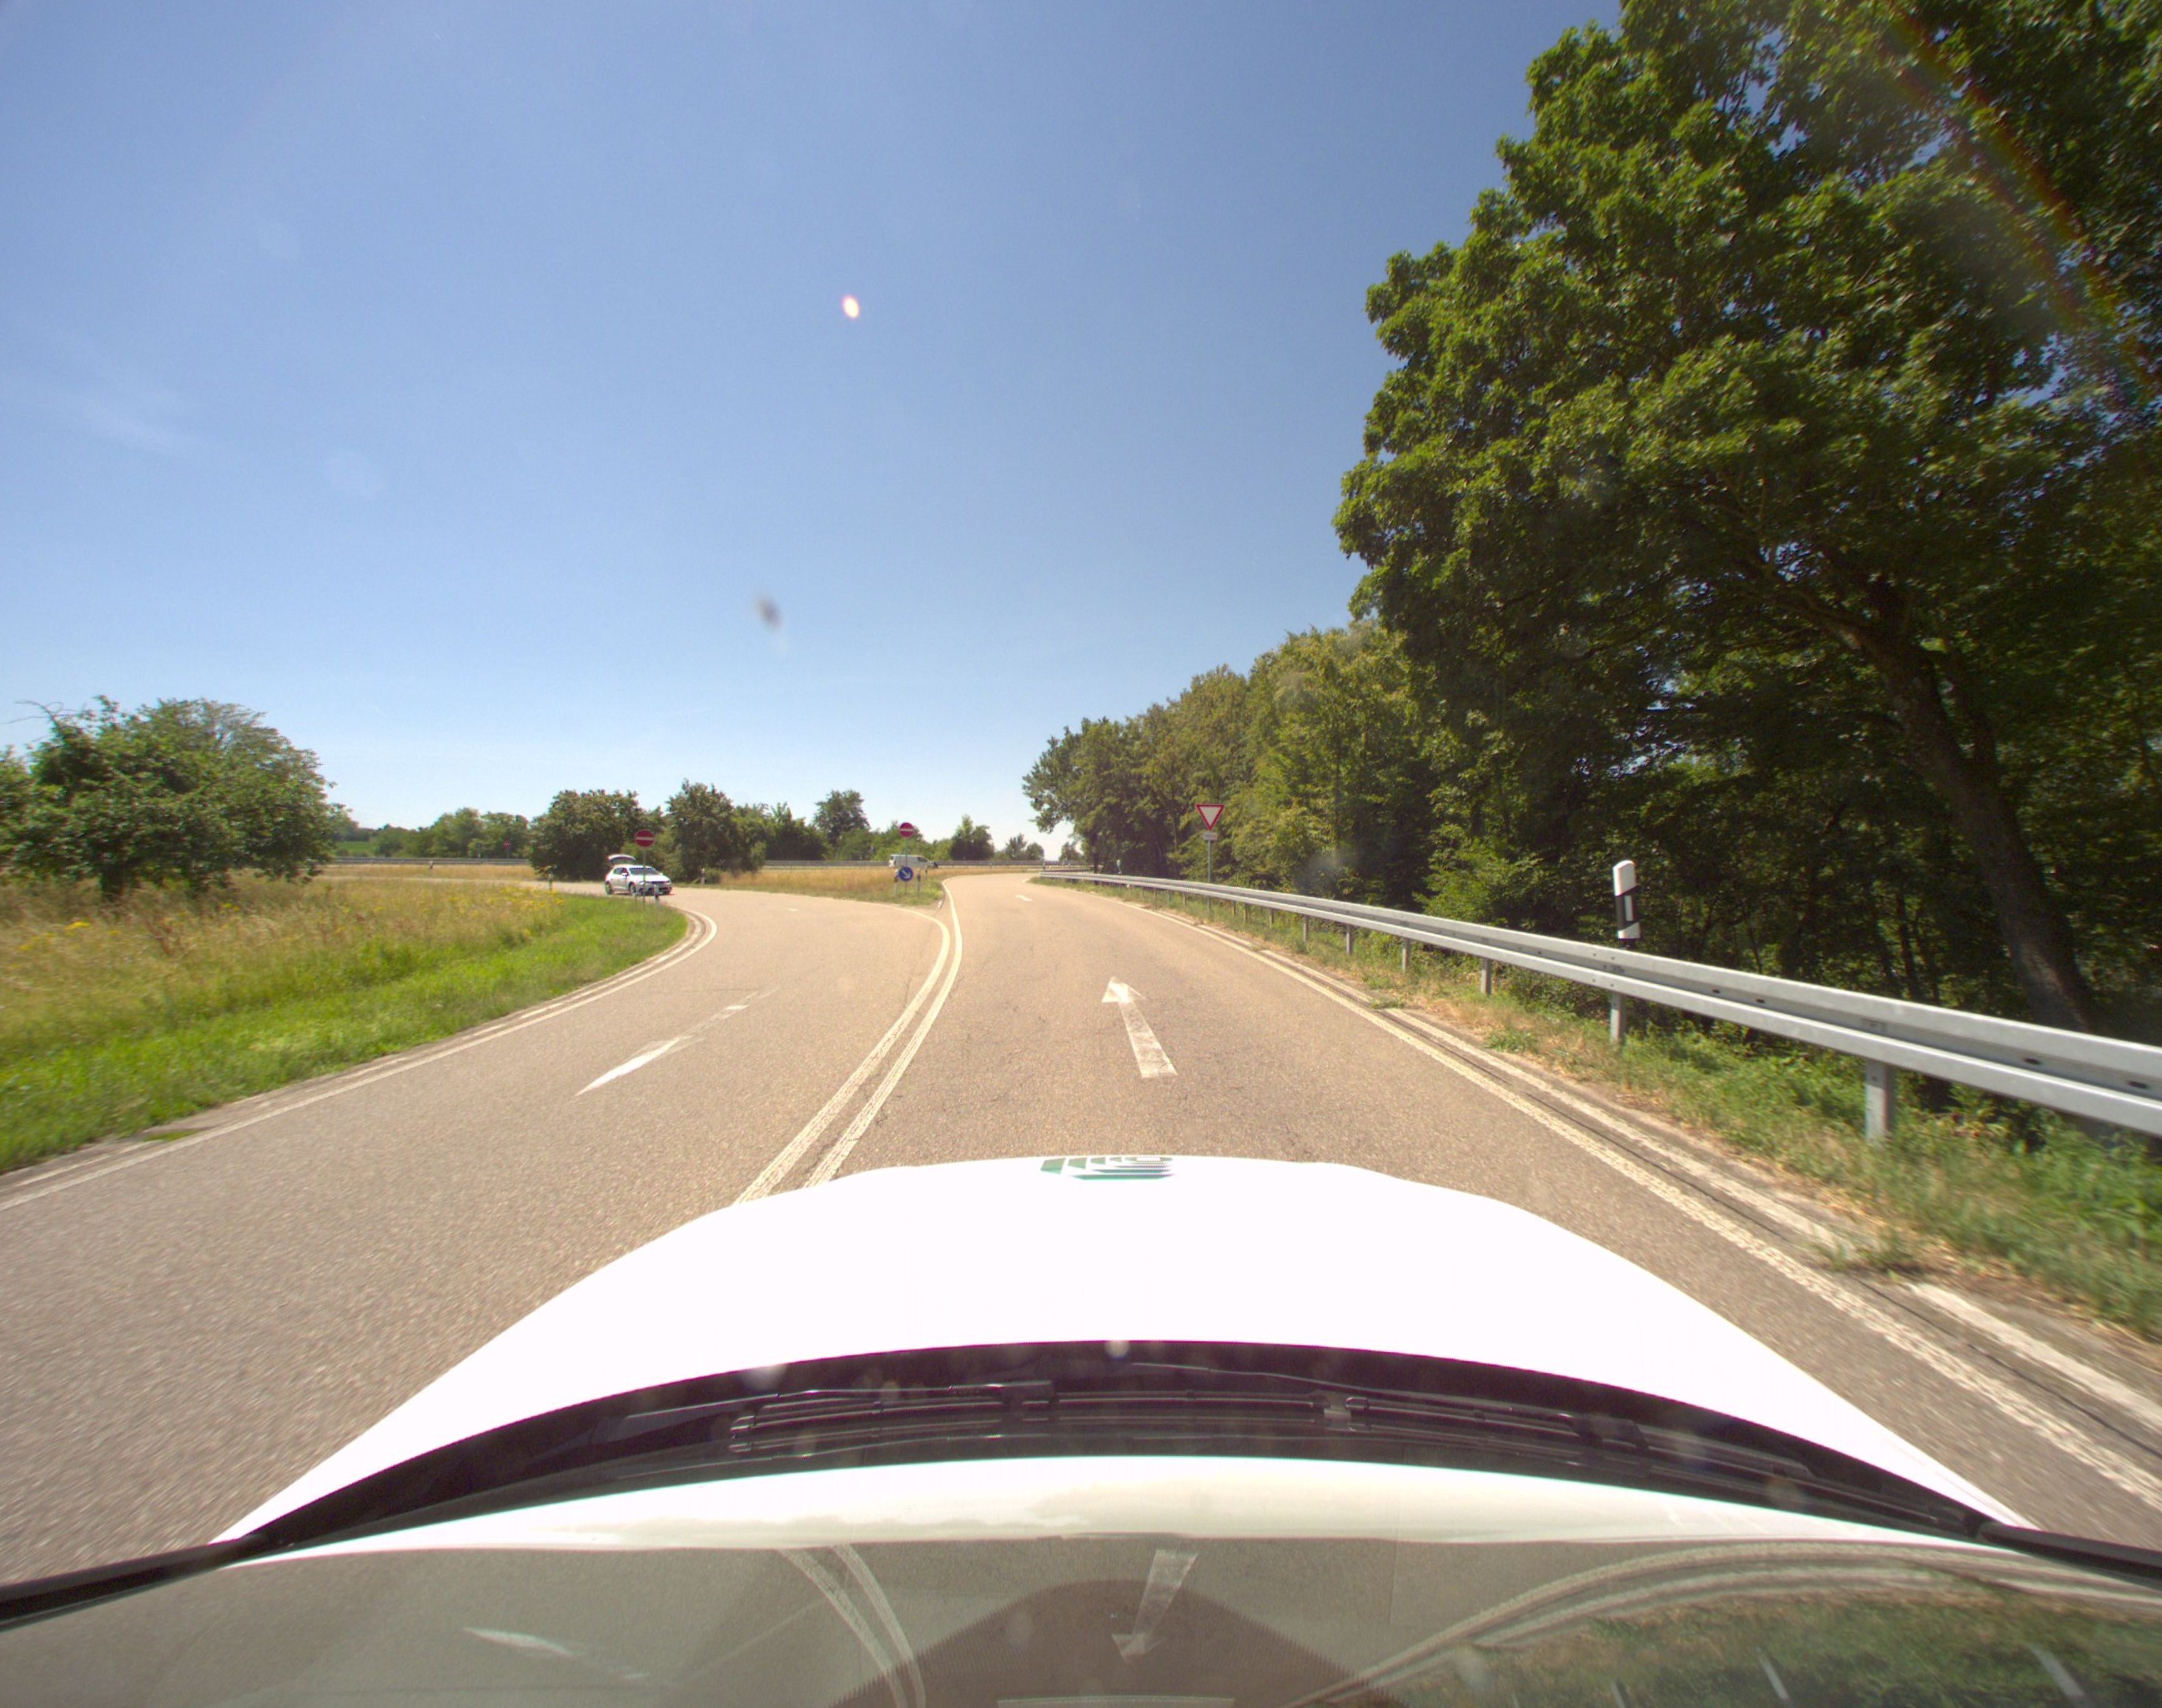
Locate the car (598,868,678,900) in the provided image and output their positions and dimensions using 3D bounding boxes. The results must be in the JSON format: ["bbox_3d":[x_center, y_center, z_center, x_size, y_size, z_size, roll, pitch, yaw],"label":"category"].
[{"bbox_3d":[-21.845,1.454,40.099,4.094,1.424,1.864,-2,0,36],"label":"car"}]

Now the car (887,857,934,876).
[{"bbox_3d":[-19.446,1.442,93.054,4.836,1.928,1.979,3,-3,-33],"label":"car"}]
